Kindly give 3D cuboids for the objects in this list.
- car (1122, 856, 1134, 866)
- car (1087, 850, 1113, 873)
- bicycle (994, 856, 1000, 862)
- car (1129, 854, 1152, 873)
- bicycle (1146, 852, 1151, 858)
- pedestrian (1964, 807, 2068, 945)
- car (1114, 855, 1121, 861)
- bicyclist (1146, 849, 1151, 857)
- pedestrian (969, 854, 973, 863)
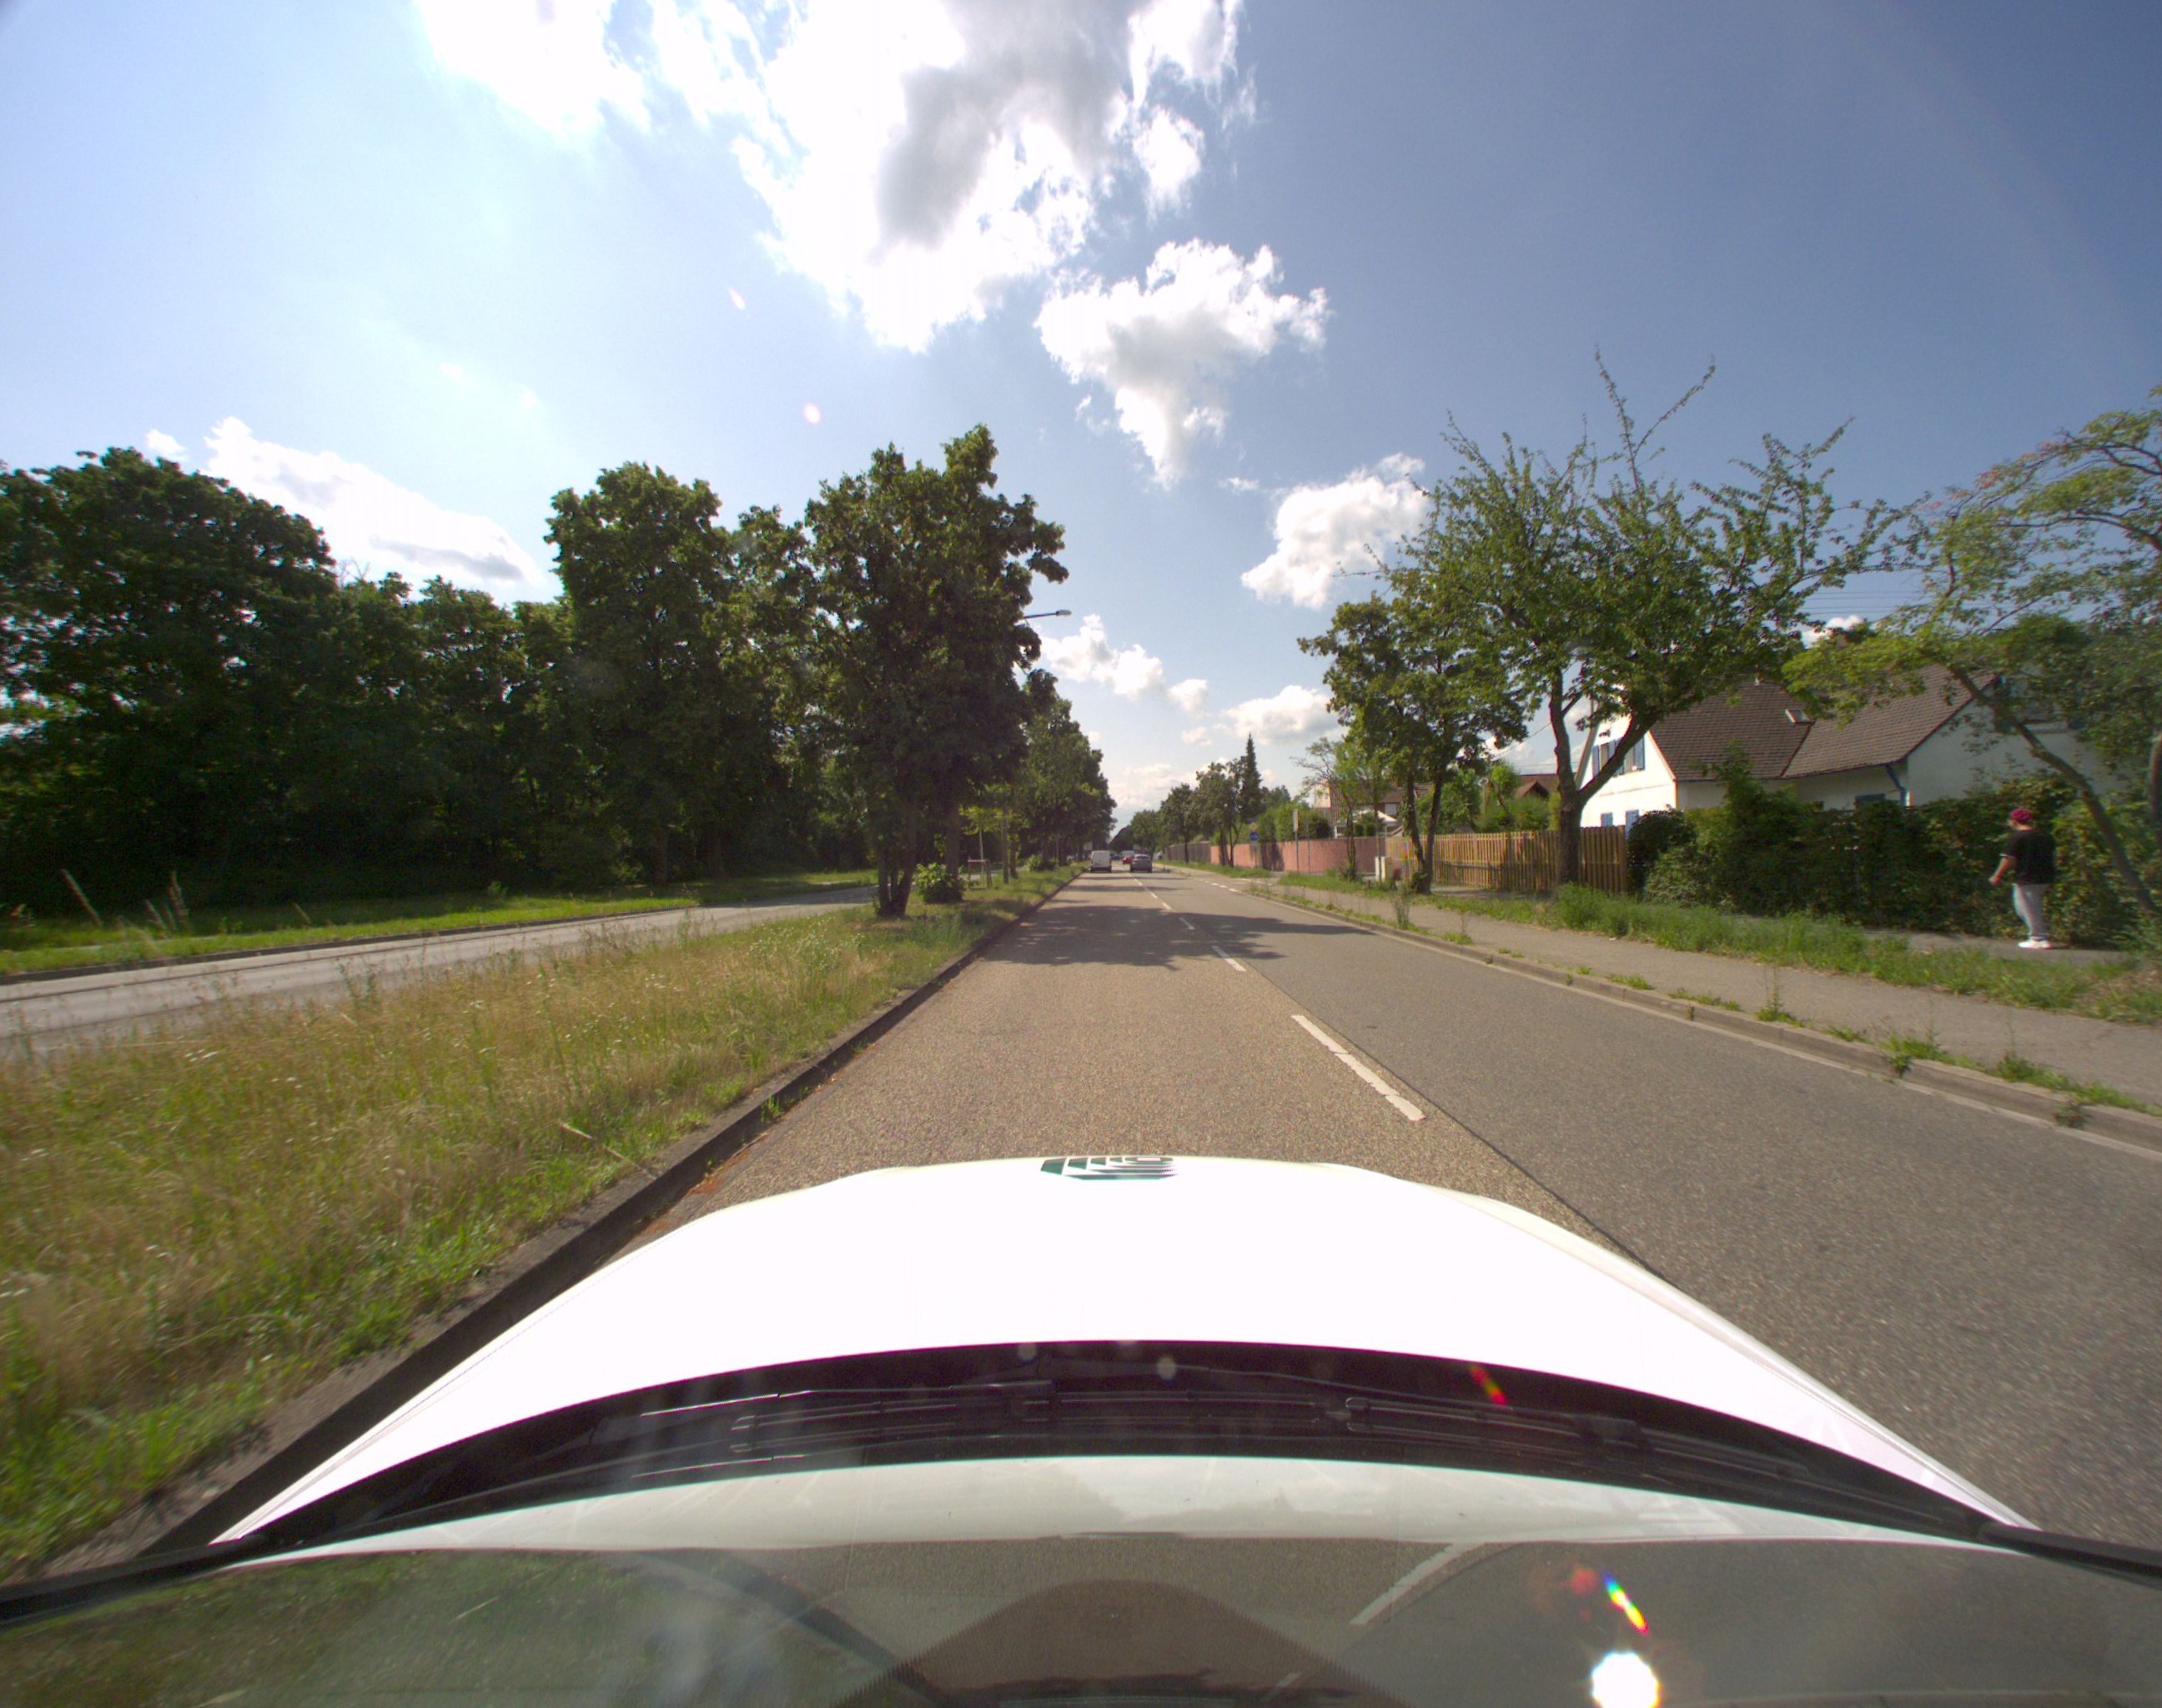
[{"bbox_3d":[7.660,1.058,132.192,1.873,1.587,4.002,-1,0,2],"label":"car"},{"bbox_3d":[1.629,0.605,68.843,2.058,1.912,4.648,-1,0,2],"label":"car"},{"bbox_3d":[-13.915,0.857,134.369,0.615,0.878,1.917,-1,0,5],"label":"bicycle"},{"bbox_3d":[5.073,0.816,69.741,1.868,1.589,4.186,-1,0,2],"label":"car"},{"bbox_3d":[11.427,0.179,137.886,0.643,1.067,2.280,-3,0,3],"label":"bicycle"},{"bbox_3d":[11.718,0.267,10.225,0.558,1.677,0.634,-1,0,1],"label":"pedestrian"},{"bbox_3d":[10.849,1.121,242.026,1.986,1.772,4.149,0,0,2],"label":"car"},{"bbox_3d":[11.399,-0.184,137.876,0.652,1.412,0.987,-3,0,2],"label":"bicyclist"},{"bbox_3d":[-19.666,0.841,145.497,0.641,1.630,0.656,0,0,2],"label":"pedestrian"}]
